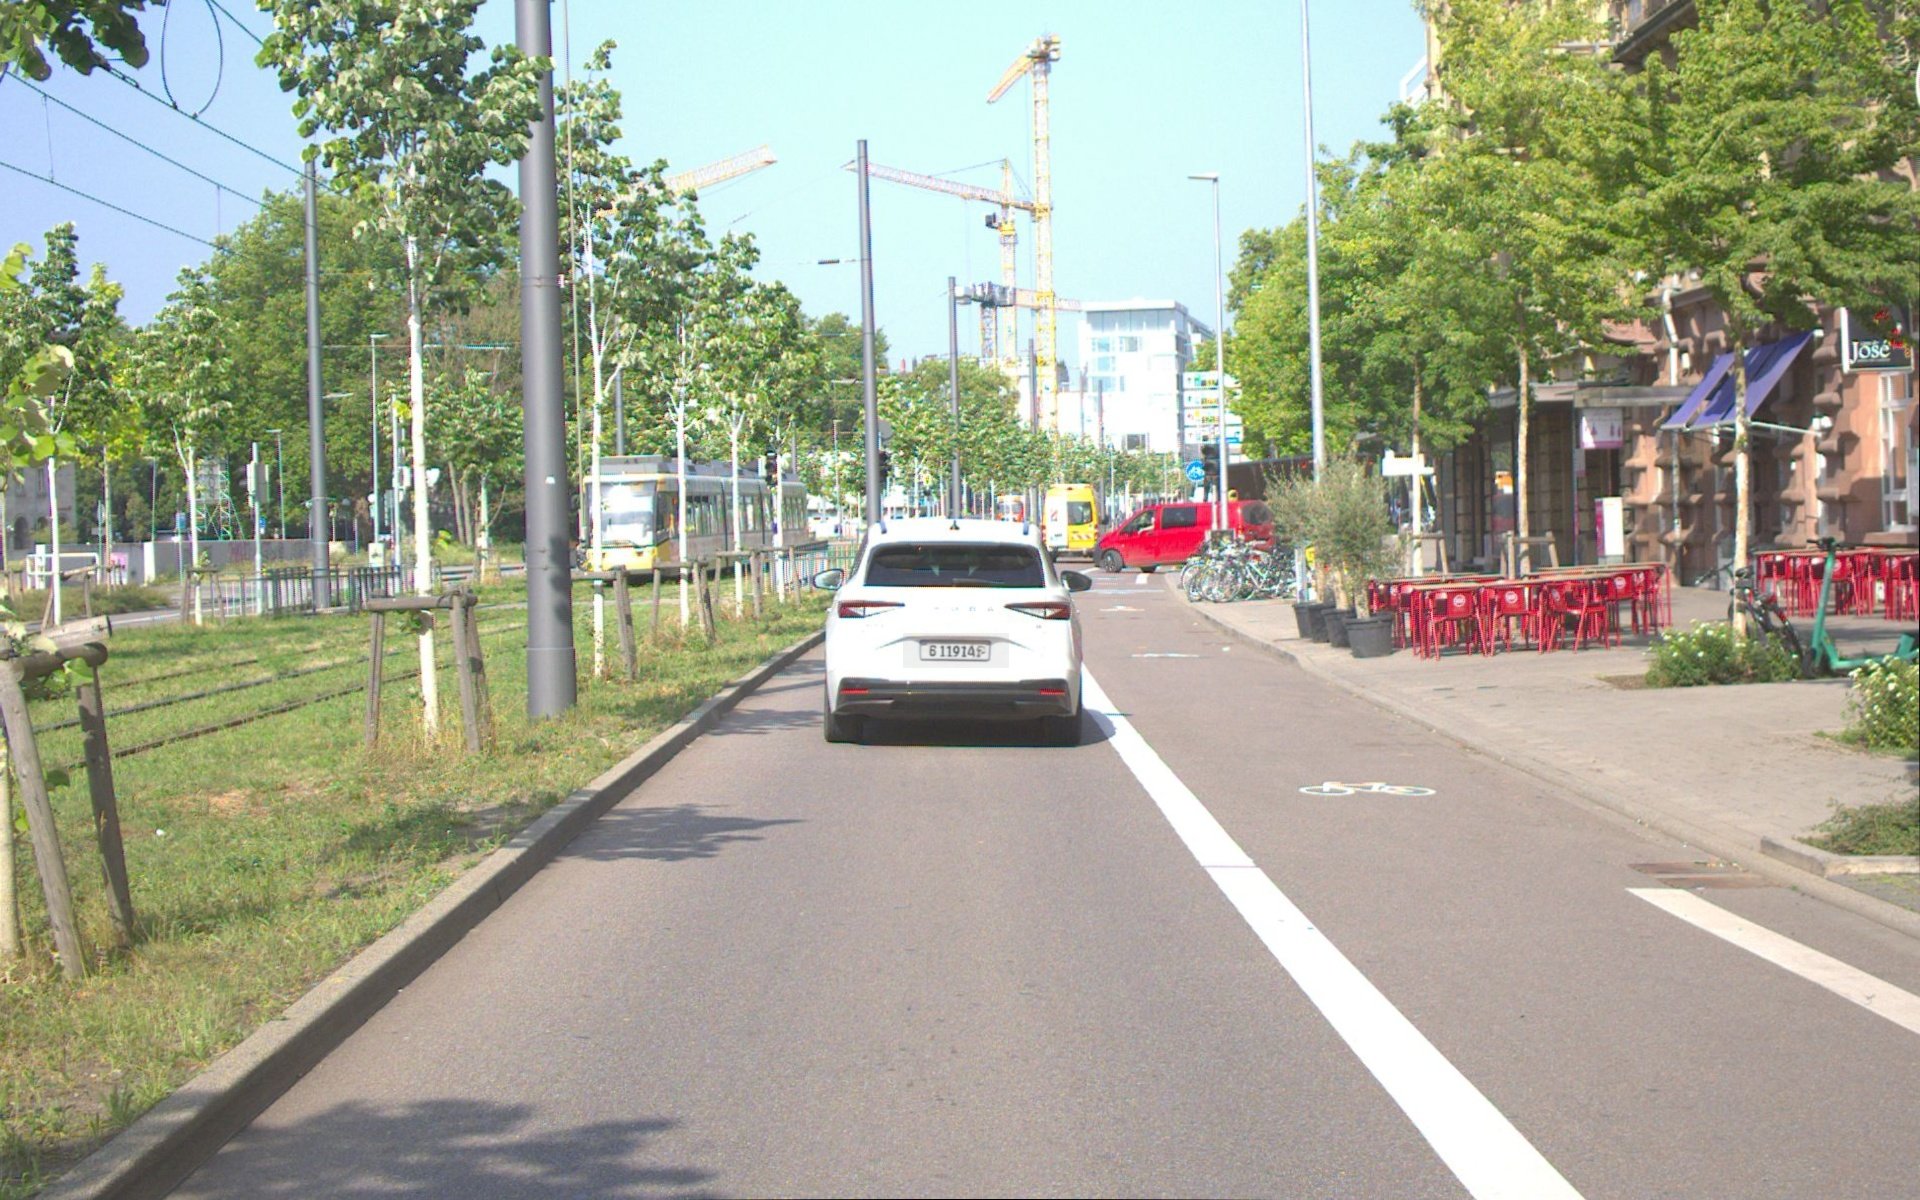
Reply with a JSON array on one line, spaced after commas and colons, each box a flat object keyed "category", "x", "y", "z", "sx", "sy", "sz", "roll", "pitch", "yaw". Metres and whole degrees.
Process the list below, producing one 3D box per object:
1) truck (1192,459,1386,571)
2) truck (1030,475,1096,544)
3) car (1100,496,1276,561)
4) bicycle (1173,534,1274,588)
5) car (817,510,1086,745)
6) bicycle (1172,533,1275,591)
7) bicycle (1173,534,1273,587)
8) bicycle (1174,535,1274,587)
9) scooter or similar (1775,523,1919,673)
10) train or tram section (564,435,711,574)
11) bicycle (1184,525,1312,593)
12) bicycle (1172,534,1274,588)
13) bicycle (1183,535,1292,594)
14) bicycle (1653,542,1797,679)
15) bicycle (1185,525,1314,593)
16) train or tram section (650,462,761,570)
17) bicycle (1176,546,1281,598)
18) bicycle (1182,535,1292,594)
[{"category": "truck", "x": 9.229, "y": -2.374, "z": 97.166, "sx": 2.509, "sy": 3.001, "sz": 6.962, "roll": -2, "pitch": 1, "yaw": -22}, {"category": "truck", "x": 3.616, "y": -3.167, "z": 120.304, "sx": 2.213, "sy": 2.310, "sz": 5.890, "roll": -1, "pitch": 1, "yaw": 2}, {"category": "car", "x": 6.104, "y": -1.915, "z": 92.313, "sx": 4.365, "sy": 1.678, "sz": 1.995, "roll": 0, "pitch": 2, "yaw": 41}, {"category": "bicycle", "x": 5.196, "y": -0.774, "z": 67.927, "sx": 1.935, "sy": 0.942, "sz": 0.440, "roll": -3, "pitch": 1, "yaw": 5}, {"category": "car", "x": -0.066, "y": 0.145, "z": 25.588, "sx": 1.817, "sy": 1.584, "sz": 4.407, "roll": 0, "pitch": 1, "yaw": 0}, {"category": "bicycle", "x": 5.135, "y": -0.747, "z": 67.003, "sx": 1.935, "sy": 1.009, "sz": 0.440, "roll": -3, "pitch": 1, "yaw": 5}, {"category": "bicycle", "x": 5.225, "y": -0.778, "z": 68.310, "sx": 1.935, "sy": 0.942, "sz": 0.428, "roll": -3, "pitch": 1, "yaw": 5}, {"category": "bicycle", "x": 5.271, "y": -0.783, "z": 68.752, "sx": 1.935, "sy": 0.942, "sz": 0.428, "roll": -3, "pitch": 1, "yaw": 5}, {"category": "scooter or similar", "x": 7.401, "y": -0.020, "z": 28.261, "sx": 1.256, "sy": 1.153, "sz": 0.340, "roll": -4, "pitch": 1, "yaw": 4}, {"category": "train or tram section", "x": -8.908, "y": -2.585, "z": 96.469, "sx": 2.898, "sy": 3.574, "sz": 12.478, "roll": -2, "pitch": 1, "yaw": 0}, {"category": "bicycle", "x": 5.256, "y": -0.753, "z": 62.760, "sx": 2.239, "sy": 1.100, "sz": 0.519, "roll": -3, "pitch": 1, "yaw": 2}, {"category": "bicycle", "x": 5.164, "y": -0.769, "z": 67.449, "sx": 1.935, "sy": 0.942, "sz": 0.440, "roll": -3, "pitch": 1, "yaw": 5}, {"category": "bicycle", "x": 5.133, "y": -0.656, "z": 63.599, "sx": 1.934, "sy": 0.983, "sz": 0.471, "roll": -3, "pitch": 1, "yaw": 2}, {"category": "bicycle", "x": 6.555, "y": 0.070, "z": 29.545, "sx": 0.595, "sy": 1.118, "sz": 1.927, "roll": -1, "pitch": 1, "yaw": -6}, {"category": "bicycle", "x": 5.231, "y": -0.746, "z": 62.205, "sx": 2.239, "sy": 1.100, "sz": 0.588, "roll": -3, "pitch": 1, "yaw": 2}, {"category": "train or tram section", "x": -8.901, "y": -2.906, "z": 121.647, "sx": 2.898, "sy": 3.574, "sz": 12.225, "roll": -2, "pitch": 1, "yaw": 0}, {"category": "bicycle", "x": 5.097, "y": -0.527, "z": 65.354, "sx": 1.934, "sy": 0.871, "sz": 0.440, "roll": -3, "pitch": 1, "yaw": 2}, {"category": "bicycle", "x": 5.159, "y": -0.662, "z": 64.079, "sx": 1.955, "sy": 0.983, "sz": 0.471, "roll": -3, "pitch": 1, "yaw": 2}]
